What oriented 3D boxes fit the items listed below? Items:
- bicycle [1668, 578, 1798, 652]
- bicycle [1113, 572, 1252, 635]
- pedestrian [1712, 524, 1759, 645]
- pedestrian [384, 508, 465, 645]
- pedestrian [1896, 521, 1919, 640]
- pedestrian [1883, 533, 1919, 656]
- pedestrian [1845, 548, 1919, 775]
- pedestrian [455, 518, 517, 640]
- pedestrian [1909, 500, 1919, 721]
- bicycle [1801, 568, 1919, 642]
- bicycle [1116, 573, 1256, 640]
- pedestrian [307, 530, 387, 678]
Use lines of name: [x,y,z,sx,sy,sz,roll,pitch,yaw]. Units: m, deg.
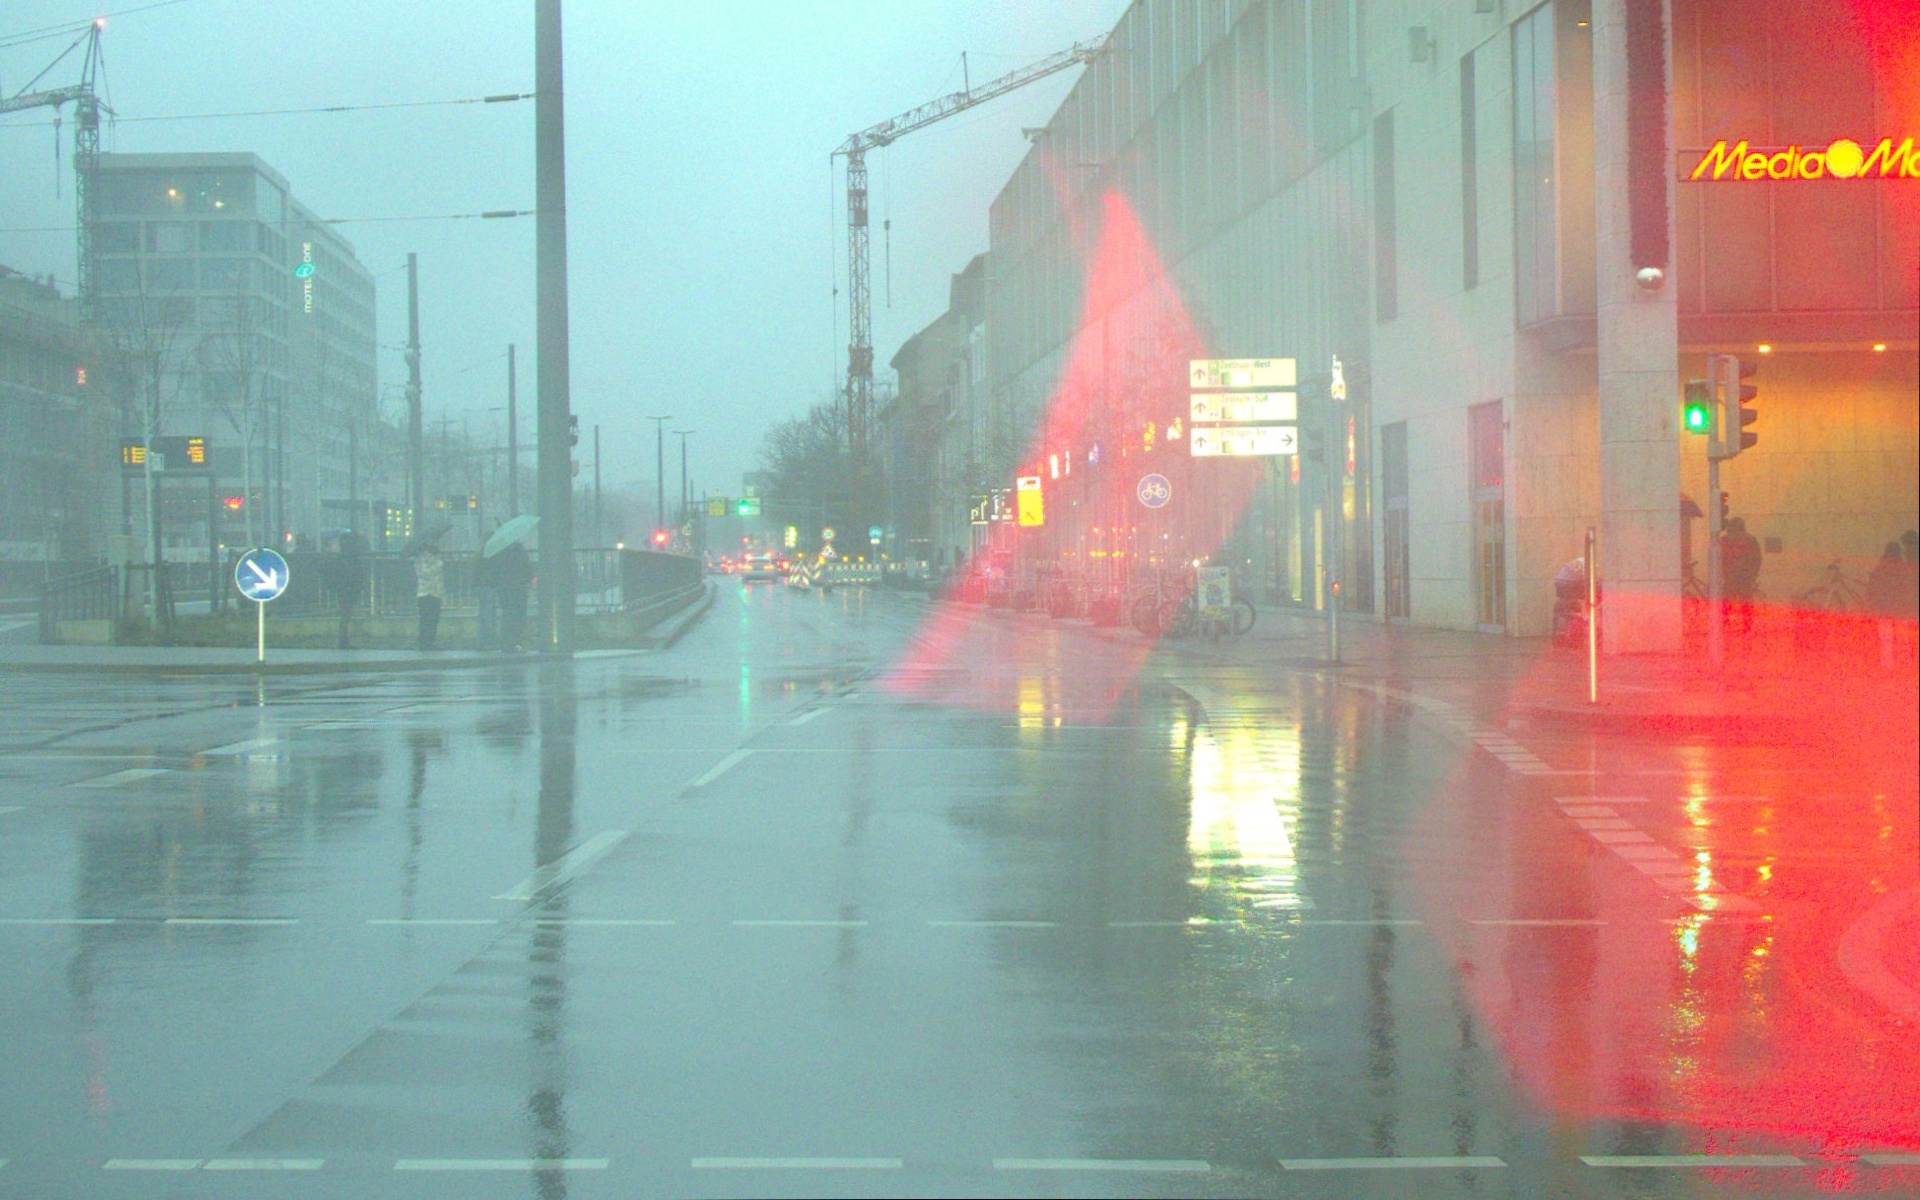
bicycle: [11.385,0.222,50.656,1.767,1.066,0.525,1,0,-5]
bicycle: [4.025,0.063,62.278,2.425,1.095,0.712,-1,0,-2]
pedestrian: [11.274,-0.231,50.001,0.600,1.739,0.524,1,0,8]
pedestrian: [-7.234,-0.322,46.422,0.821,1.825,0.786,1,0,-31]
pedestrian: [13.385,-0.274,48.014,0.485,1.657,0.457,-1,0,30]
pedestrian: [13.297,-0.079,48.018,0.636,1.703,0.573,-1,0,-1]
pedestrian: [10.101,0.658,37.388,0.714,2.433,0.758,1,0,-1]
pedestrian: [-6.614,-0.292,47.956,0.612,1.680,0.577,1,1,42]
pedestrian: [10.924,0.117,37.870,0.689,2.433,0.758,1,0,-1]
bicycle: [13.336,0.069,50.817,1.646,1.066,0.525,1,0,-4]
bicycle: [4.043,0.108,61.573,2.442,1.150,0.674,-1,0,-1]
pedestrian: [-8.442,0.049,47.357,0.785,2.007,0.726,1,1,42]
